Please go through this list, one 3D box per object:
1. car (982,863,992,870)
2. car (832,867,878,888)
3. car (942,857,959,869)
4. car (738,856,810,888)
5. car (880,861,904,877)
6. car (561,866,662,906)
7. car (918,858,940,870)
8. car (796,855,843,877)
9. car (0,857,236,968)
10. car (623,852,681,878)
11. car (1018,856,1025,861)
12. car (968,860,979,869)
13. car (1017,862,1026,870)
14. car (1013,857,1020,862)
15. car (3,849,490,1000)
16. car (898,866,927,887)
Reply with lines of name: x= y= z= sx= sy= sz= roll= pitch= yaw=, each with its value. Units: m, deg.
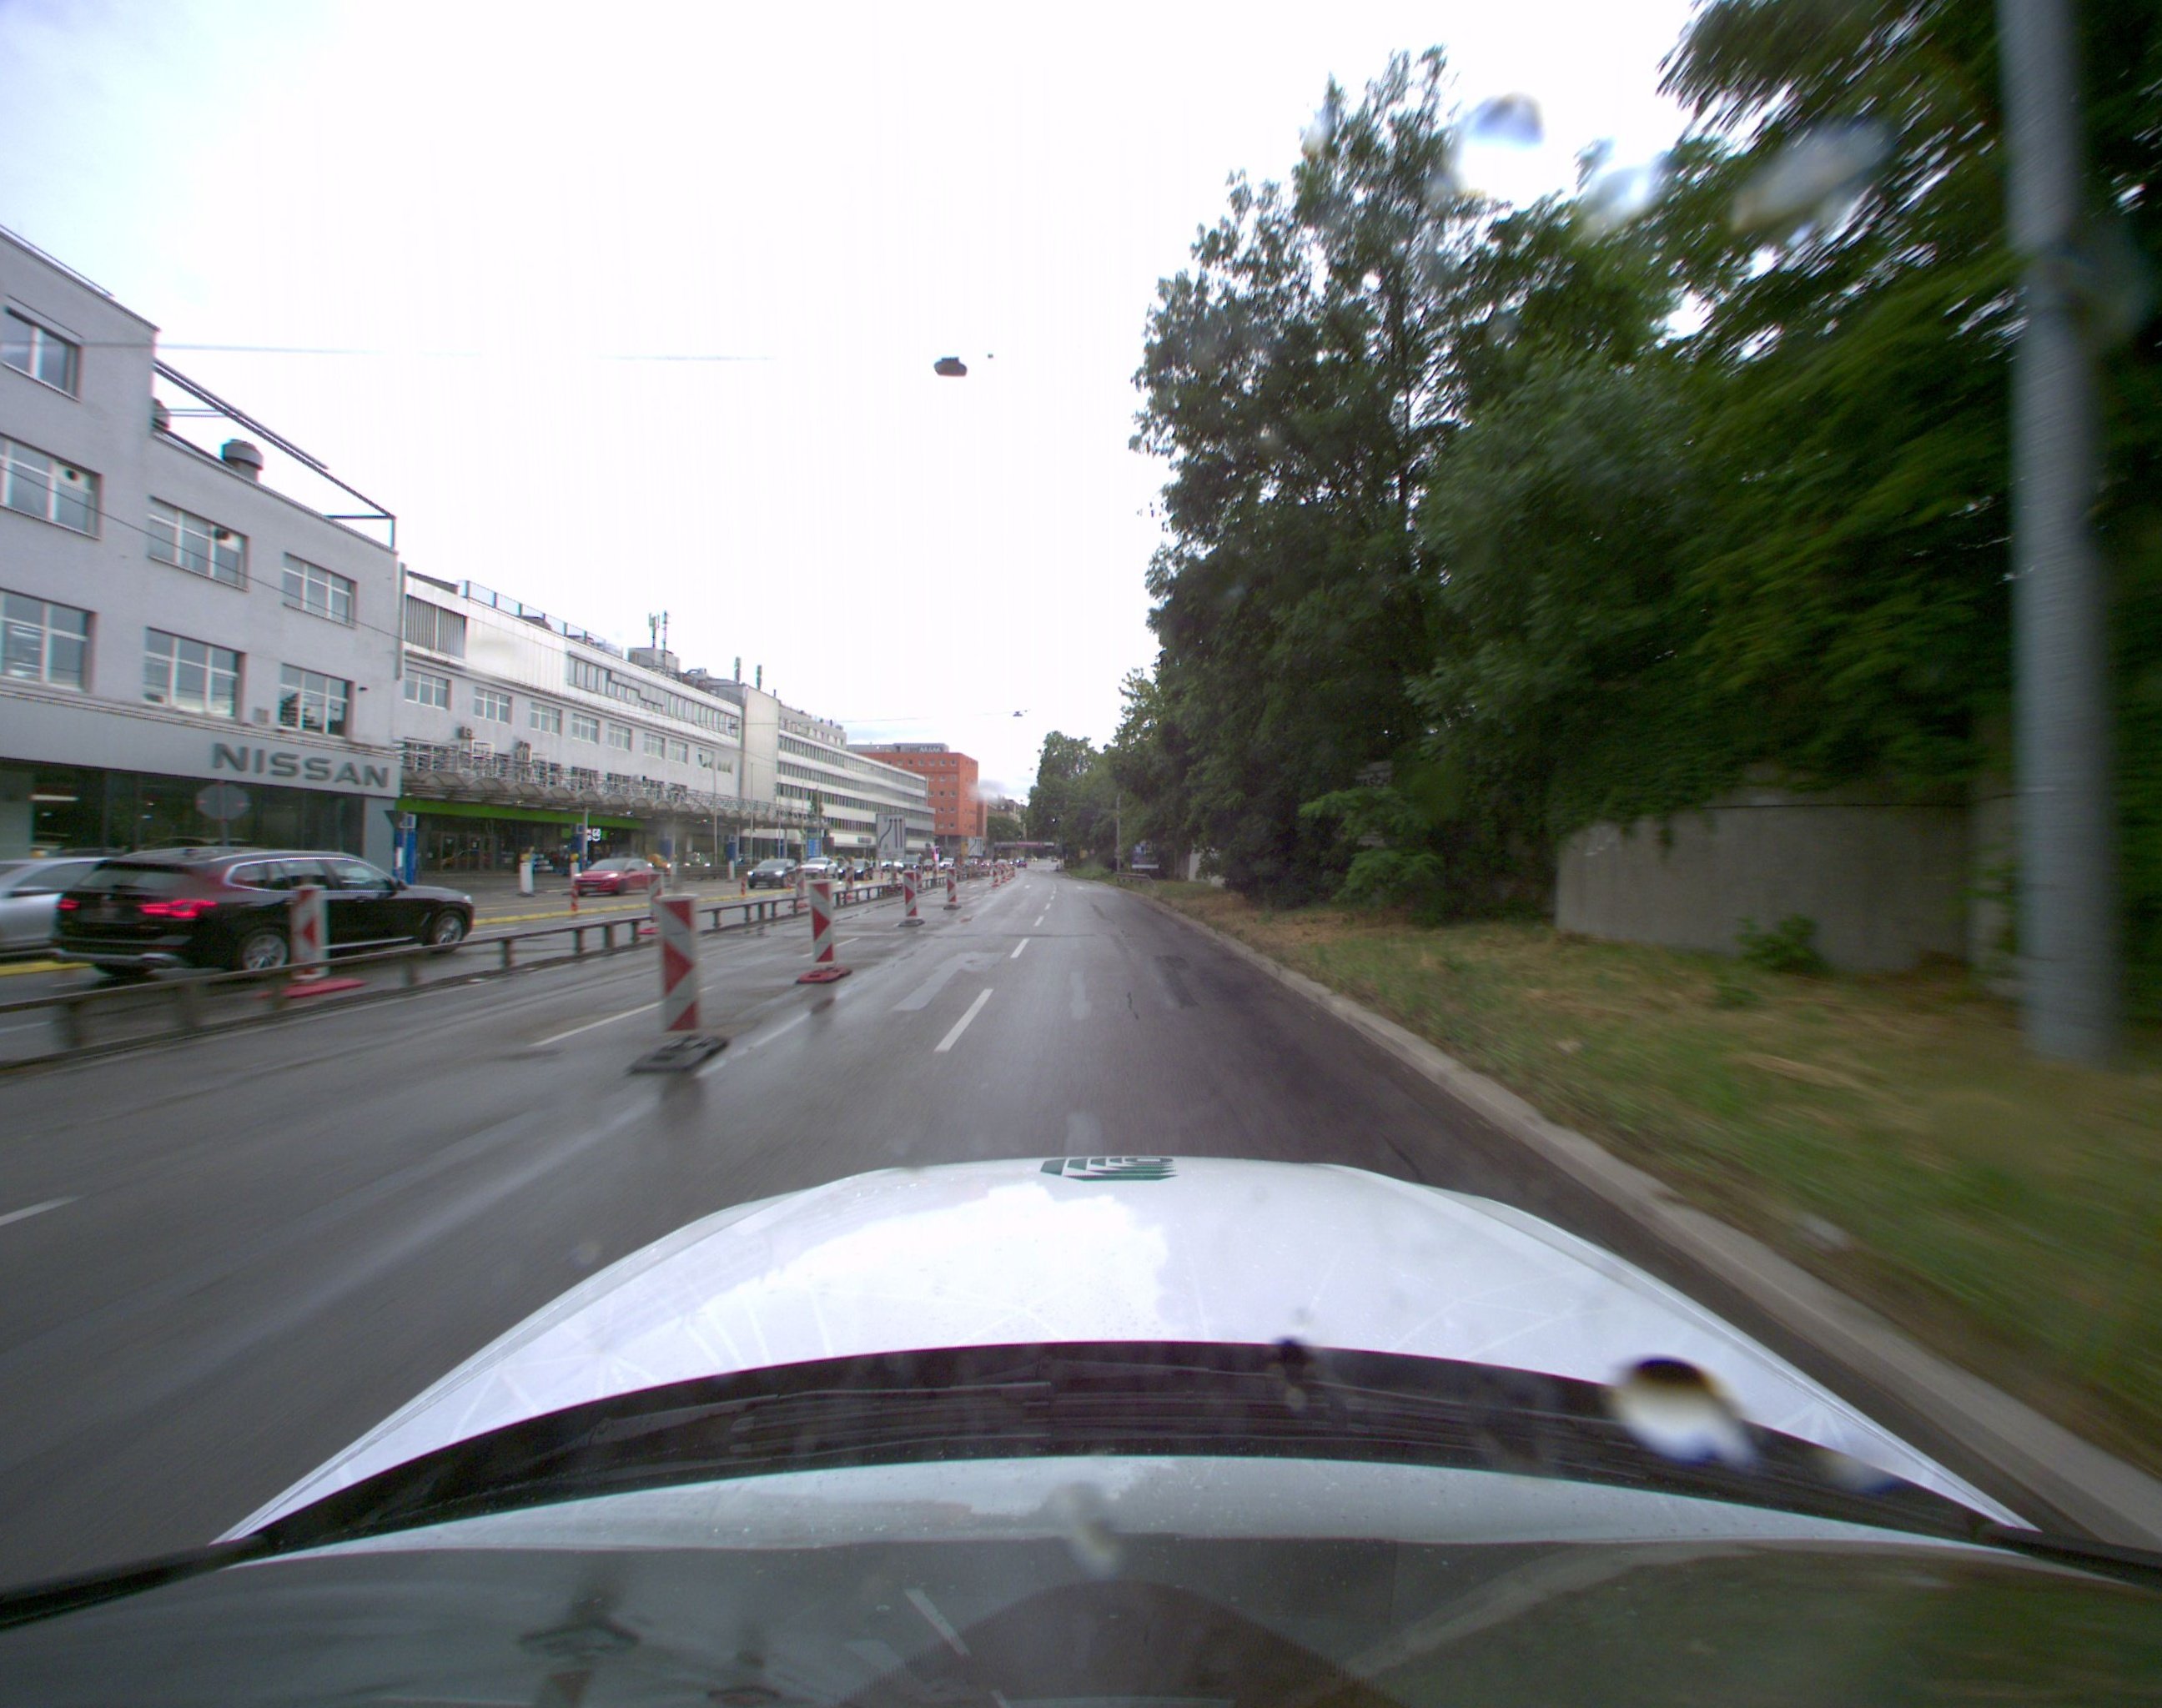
car: x=-18.530 y=2.450 z=160.250 sx=1.732 sy=1.404 sz=4.283 roll=1 pitch=-1 yaw=-4
car: x=-15.712 y=1.606 z=56.857 sx=1.792 sy=1.351 sz=4.812 roll=0 pitch=0 yaw=0
car: x=-18.143 y=1.264 z=113.280 sx=1.934 sy=1.690 sz=4.575 roll=0 pitch=0 yaw=-3
car: x=-15.215 y=0.851 z=40.650 sx=1.777 sy=1.508 sz=4.523 roll=0 pitch=0 yaw=2
car: x=-20.219 y=1.593 z=87.202 sx=1.742 sy=1.585 sz=4.262 roll=0 pitch=-1 yaw=-2
car: x=-18.320 y=1.208 z=31.981 sx=1.727 sy=1.414 sz=3.710 roll=0 pitch=0 yaw=2
car: x=-18.146 y=1.177 z=97.284 sx=1.847 sy=1.466 sz=4.702 roll=0 pitch=0 yaw=-3
car: x=-18.736 y=0.850 z=58.538 sx=1.777 sy=1.508 sz=4.523 roll=0 pitch=0 yaw=2
car: x=-15.175 y=0.813 z=11.626 sx=1.693 sy=1.464 sz=4.123 roll=-2 pitch=0 yaw=4
car: x=-30.529 y=0.797 z=57.926 sx=4.388 sy=1.770 sz=1.980 roll=-1 pitch=-1 yaw=37
car: x=-18.694 y=1.414 z=256.347 sx=1.728 sy=1.786 sz=4.301 roll=0 pitch=-1 yaw=0
car: x=-21.995 y=2.124 z=166.744 sx=1.975 sy=1.707 sz=4.825 roll=0 pitch=-1 yaw=-4
car: x=-12.607 y=2.549 z=172.901 sx=1.758 sy=1.697 sz=3.703 roll=0 pitch=-1 yaw=-1
car: x=-19.331 y=1.764 z=242.657 sx=1.824 sy=1.502 sz=4.371 roll=0 pitch=0 yaw=-1
car: x=-11.178 y=0.784 z=11.582 sx=1.940 sy=1.597 sz=4.672 roll=3 pitch=1 yaw=2
car: x=-16.540 y=2.137 z=80.166 sx=1.988 sy=1.937 sz=5.226 roll=-1 pitch=0 yaw=-2
